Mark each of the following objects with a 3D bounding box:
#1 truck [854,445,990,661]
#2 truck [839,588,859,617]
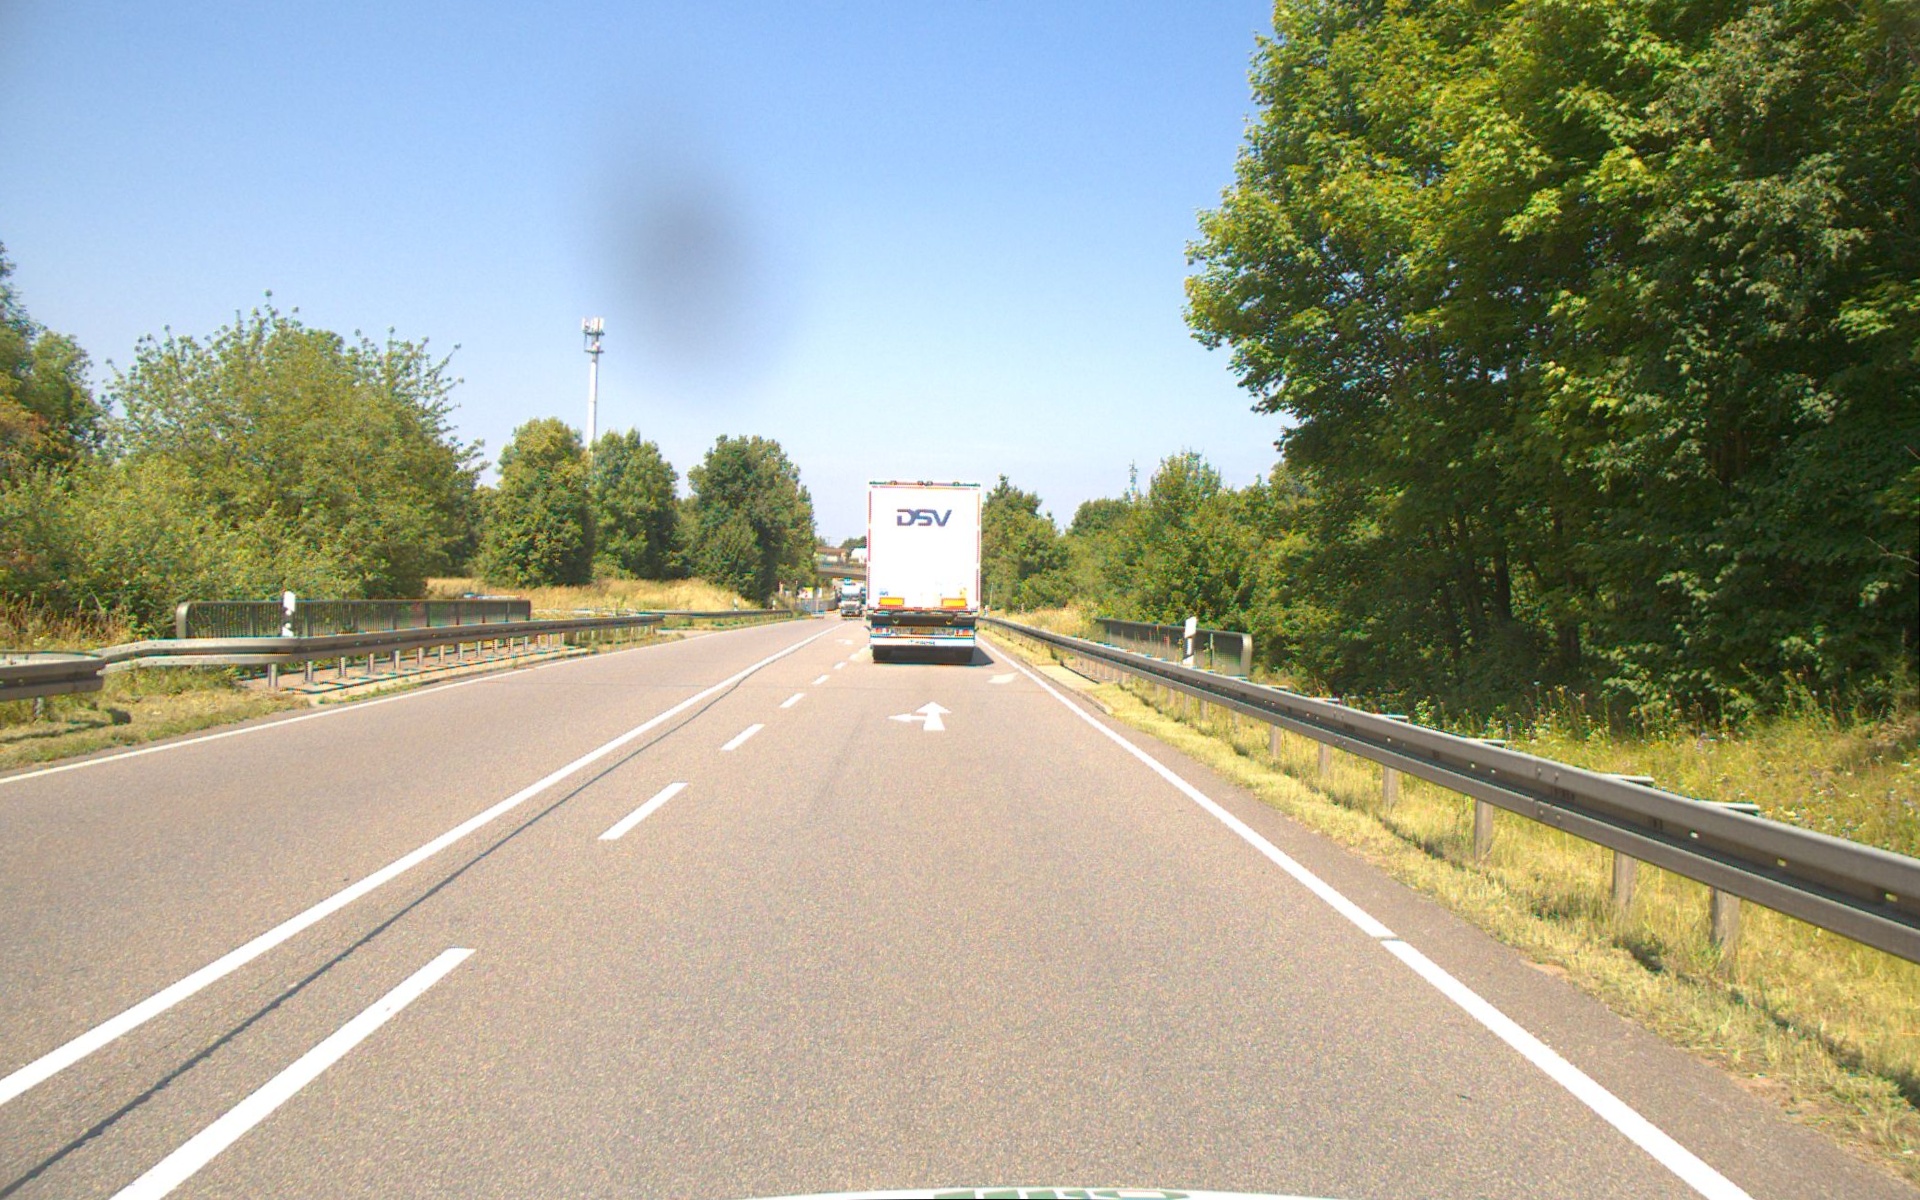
[{"bbox_3d":[-0.923,-0.986,40.961,2.890,4.649,9.859,1,-1,-1],"label":"truck"},{"bbox_3d":[-14.880,0.290,222.762,2.306,3.815,12.618,1,0,-3],"label":"truck"}]
